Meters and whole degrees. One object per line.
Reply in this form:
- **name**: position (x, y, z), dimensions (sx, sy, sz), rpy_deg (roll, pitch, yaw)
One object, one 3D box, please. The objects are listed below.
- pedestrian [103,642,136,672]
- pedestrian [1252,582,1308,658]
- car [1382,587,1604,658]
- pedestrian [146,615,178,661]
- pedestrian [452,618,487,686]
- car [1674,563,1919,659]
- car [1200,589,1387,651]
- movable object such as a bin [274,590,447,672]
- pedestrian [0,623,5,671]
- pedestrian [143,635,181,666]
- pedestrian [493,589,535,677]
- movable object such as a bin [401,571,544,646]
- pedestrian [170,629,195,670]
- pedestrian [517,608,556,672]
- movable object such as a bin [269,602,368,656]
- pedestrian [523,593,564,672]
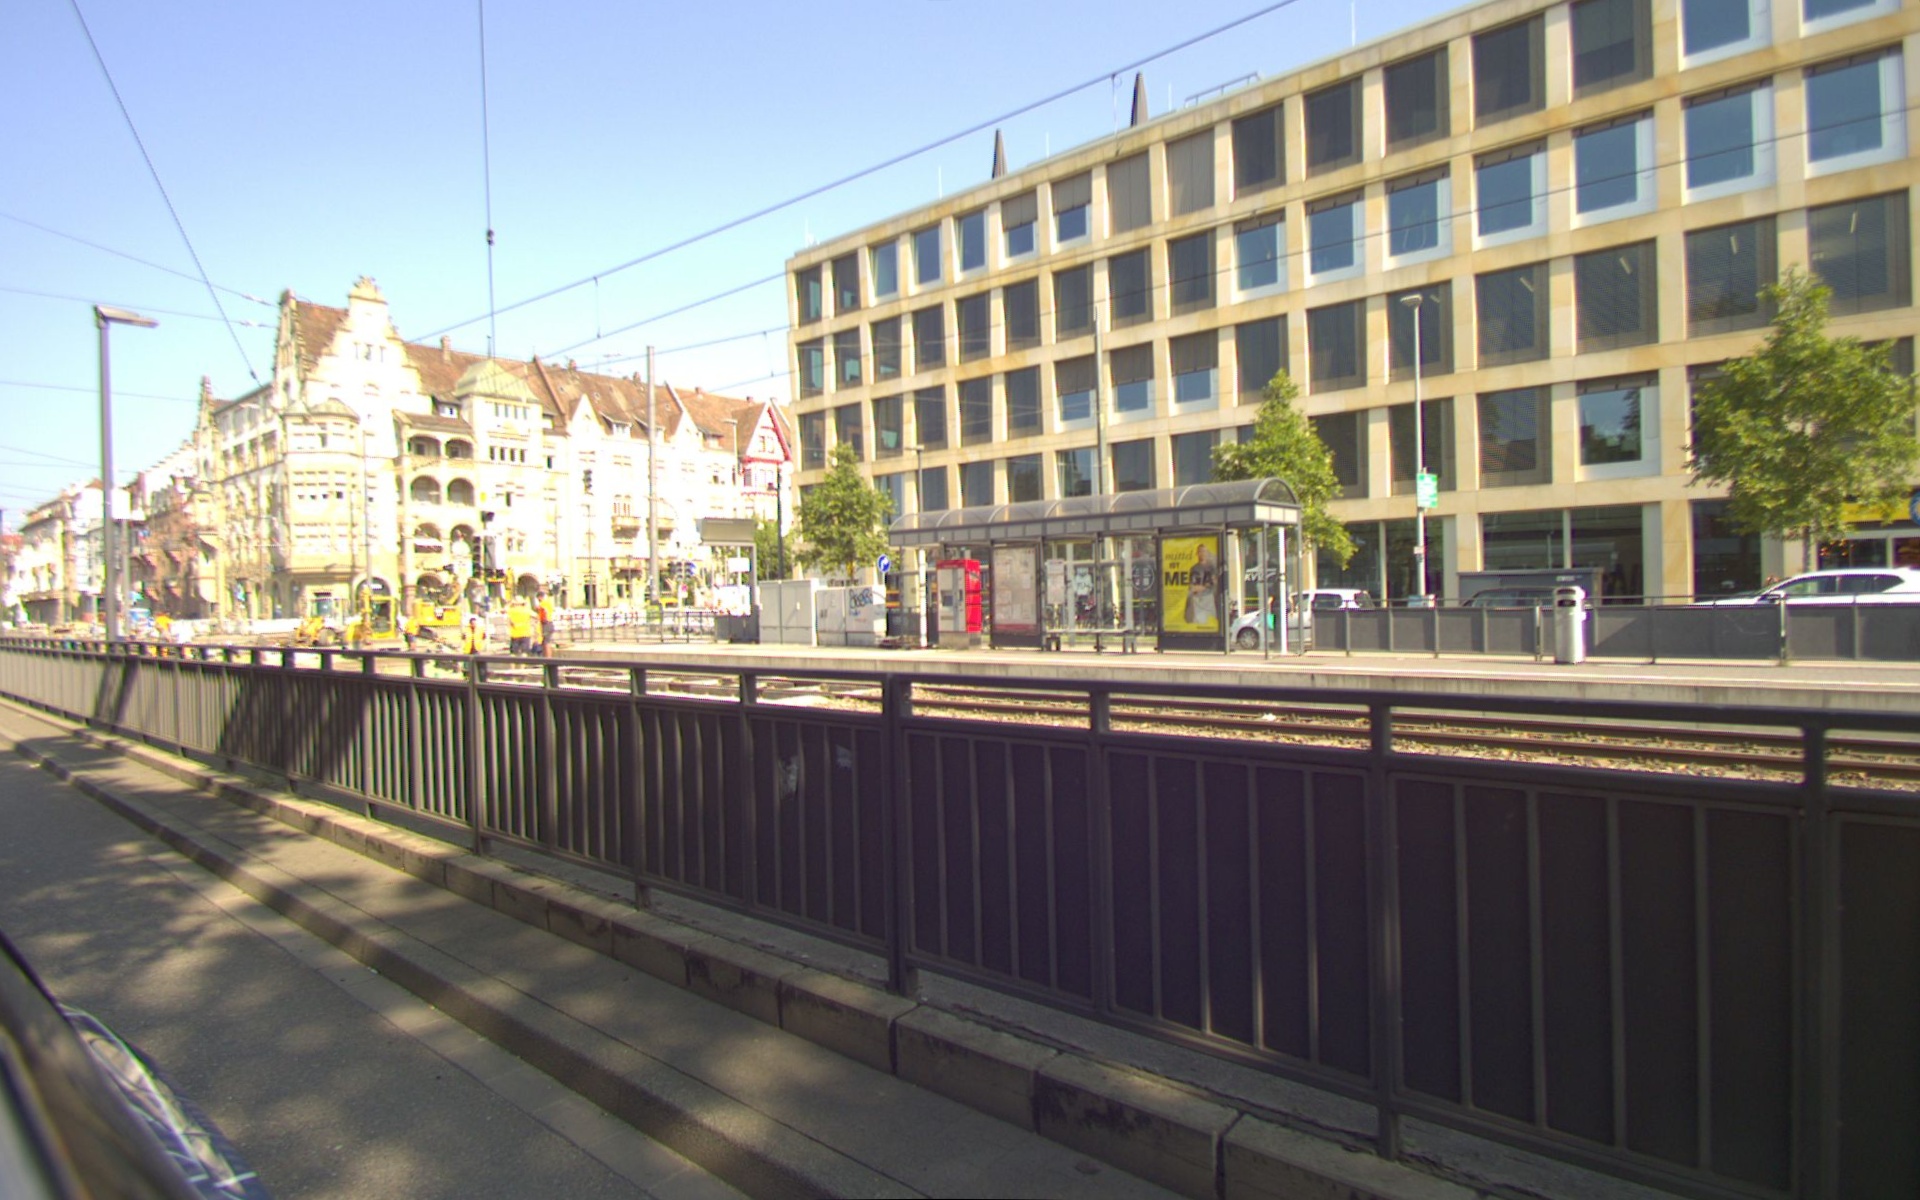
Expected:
- **pedestrian**: position (-27.667, 1.877, 33.330), dimensions (0.809, 0.933, 0.513), rpy_deg (-1, -1, -37)
- **pedestrian**: position (7.283, 0.454, 23.026), dimensions (0.826, 1.689, 0.881), rpy_deg (-1, -1, -41)
- **car**: position (11.613, 0.483, 22.153), dimensions (3.996, 1.414, 1.883), rpy_deg (-2, -1, 40)
- **pedestrian**: position (-28.356, 1.335, 35.974), dimensions (0.804, 1.578, 0.558), rpy_deg (-1, -1, -31)
- **pedestrian**: position (-12.353, 1.295, 25.497), dimensions (0.657, 1.676, 0.774), rpy_deg (-1, -1, -16)
- **car**: position (15.882, 0.207, 18.693), dimensions (4.314, 1.638, 1.773), rpy_deg (-2, -1, 38)
- **car**: position (8.220, 0.496, 25.089), dimensions (3.996, 1.414, 1.883), rpy_deg (-2, -1, 40)
- **movable object such as a bin**: position (-25.058, 1.167, 42.113), dimensions (8.471, 2.979, 3.577), rpy_deg (0, 2, 41)
- **pedestrian**: position (-32.242, 1.564, 33.542), dimensions (0.691, 1.578, 0.752), rpy_deg (-2, -1, 40)
- **pedestrian**: position (-27.338, 1.727, 34.667), dimensions (0.924, 0.996, 0.511), rpy_deg (-2, -1, 8)
- **pedestrian**: position (-10.302, 0.756, 23.358), dimensions (0.713, 1.965, 0.790), rpy_deg (-1, -1, -35)
- **movable object such as a bin**: position (-30.499, 0.431, 63.376), dimensions (7.261, 4.380, 4.981), rpy_deg (-1, 1, -37)
- **pedestrian**: position (-30.290, 1.928, 39.429), dimensions (0.690, 1.578, 0.558), rpy_deg (-1, -1, -33)
- **pedestrian**: position (-10.683, 1.001, 25.528), dimensions (0.620, 1.566, 0.638), rpy_deg (-2, -1, 14)
- **movable object such as a bin**: position (-36.207, 1.592, 57.322), dimensions (2.417, 2.856, 4.812), rpy_deg (-1, 0, 3)
- **pedestrian**: position (-9.927, 0.767, 24.139), dimensions (0.633, 1.829, 0.625), rpy_deg (-2, -1, 8)
